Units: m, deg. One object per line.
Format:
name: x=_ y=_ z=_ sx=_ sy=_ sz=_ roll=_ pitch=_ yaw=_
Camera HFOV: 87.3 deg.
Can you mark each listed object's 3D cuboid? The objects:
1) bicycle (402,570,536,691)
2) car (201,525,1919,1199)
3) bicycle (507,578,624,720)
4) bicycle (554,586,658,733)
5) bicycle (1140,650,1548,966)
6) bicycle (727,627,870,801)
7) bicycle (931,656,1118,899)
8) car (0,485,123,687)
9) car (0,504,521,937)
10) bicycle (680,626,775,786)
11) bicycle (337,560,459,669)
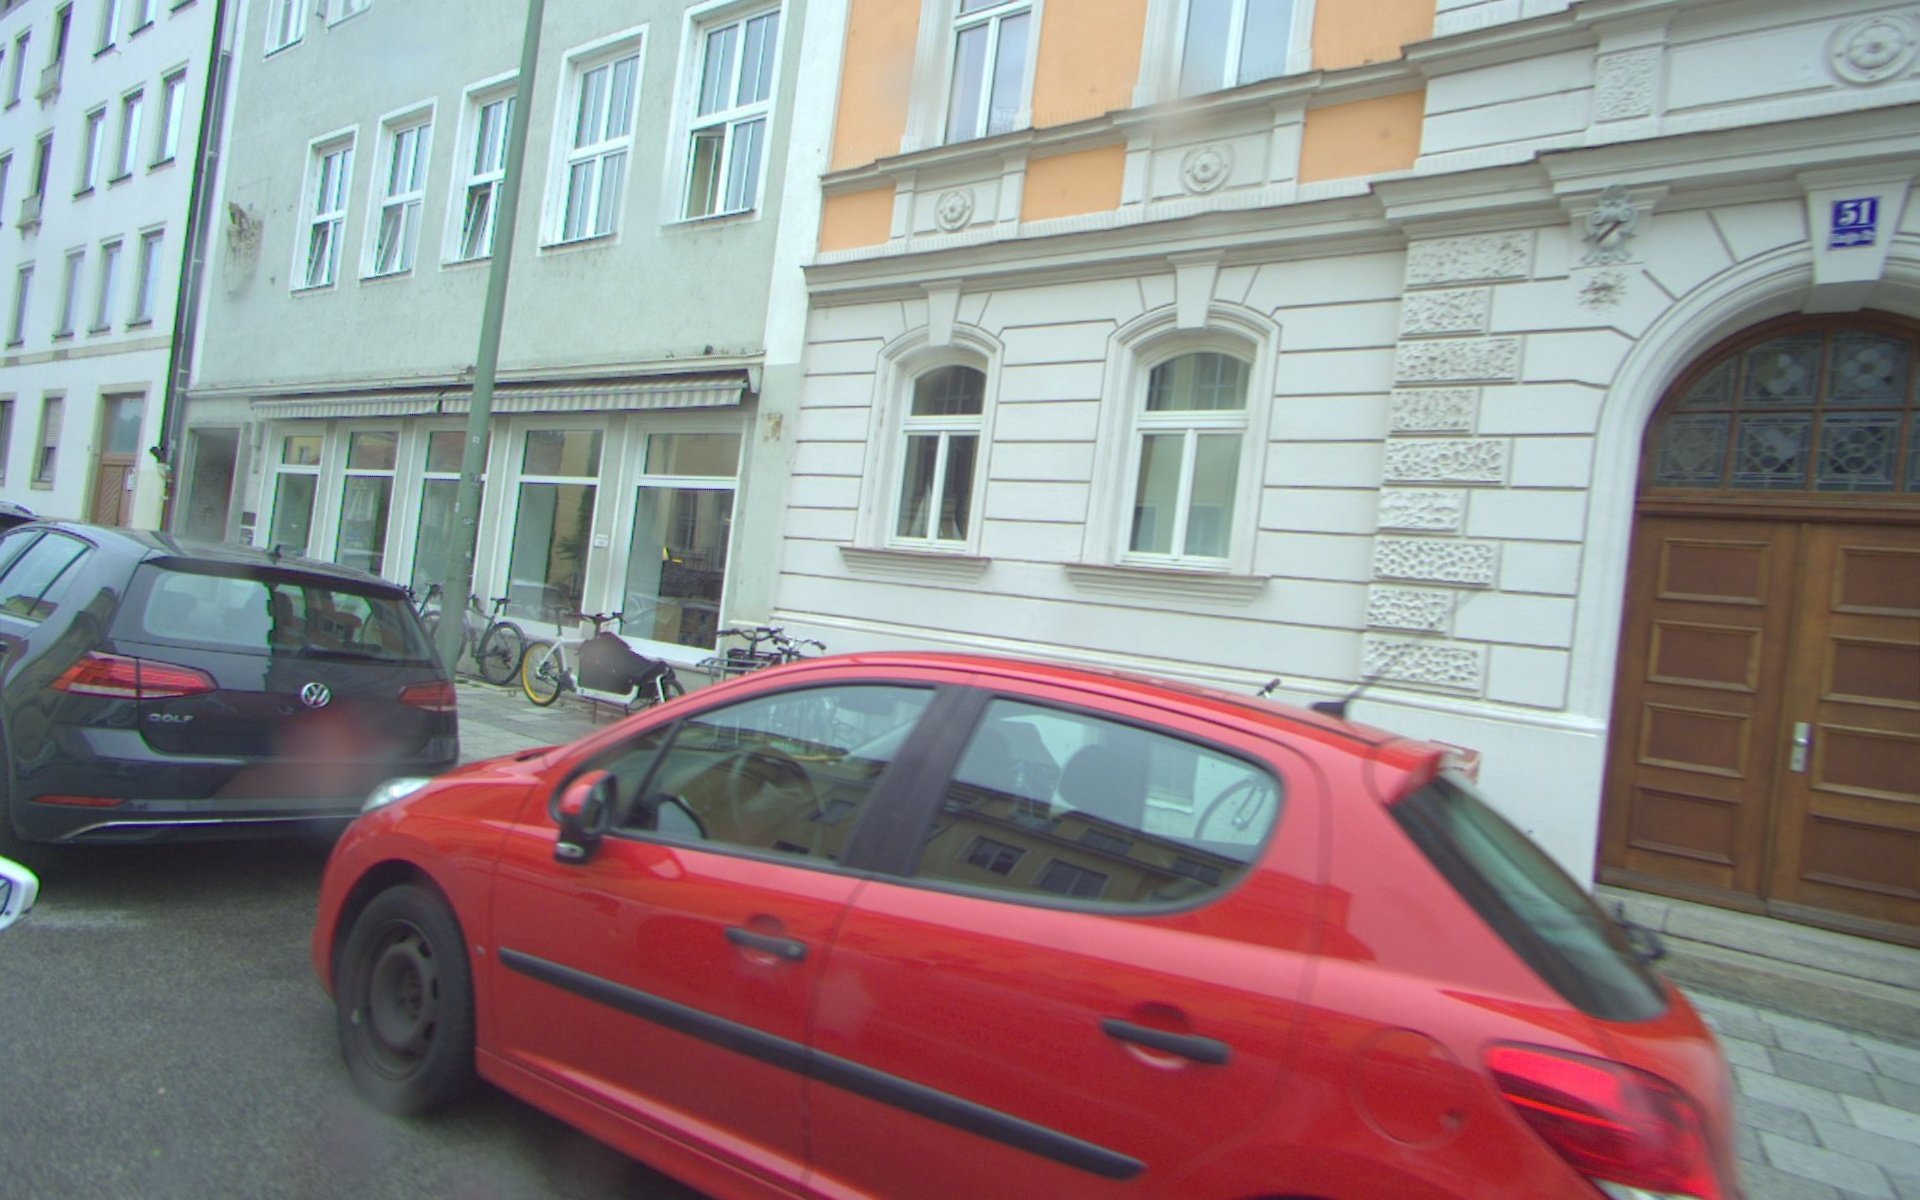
bicycle: x=-5.693 y=0.335 z=11.619 sx=1.785 sy=1.190 sz=0.396 roll=6 pitch=-2 yaw=32
car: x=-0.140 y=0.824 z=2.932 sx=4.077 sy=1.516 sz=1.693 roll=7 pitch=-3 yaw=30
bicycle: x=-3.995 y=0.479 z=10.158 sx=1.213 sy=1.271 sz=0.248 roll=7 pitch=0 yaw=28
bicycle: x=-3.350 y=0.550 z=9.510 sx=0.900 sy=1.271 sz=0.248 roll=7 pitch=0 yaw=28
bicycle: x=2.237 y=1.135 z=6.019 sx=2.056 sy=1.402 sz=0.597 roll=7 pitch=0 yaw=30
bicycle: x=-1.334 y=0.842 z=7.976 sx=0.614 sy=1.102 sz=1.805 roll=7 pitch=-1 yaw=-22
bicycle: x=0.324 y=1.028 z=6.488 sx=0.575 sy=1.152 sz=2.088 roll=7 pitch=-1 yaw=-11
car: x=-9.746 y=-0.331 z=9.176 sx=4.288 sy=1.610 sz=1.711 roll=6 pitch=-3 yaw=30
car: x=-4.438 y=0.324 z=5.366 sx=4.294 sy=1.418 sz=1.690 roll=7 pitch=-2 yaw=34
bicycle: x=-1.859 y=0.799 z=8.240 sx=0.507 sy=1.080 sz=1.845 roll=7 pitch=-1 yaw=-9
bicycle: x=-7.214 y=0.166 z=12.869 sx=1.917 sy=1.171 sz=0.385 roll=7 pitch=-1 yaw=32
